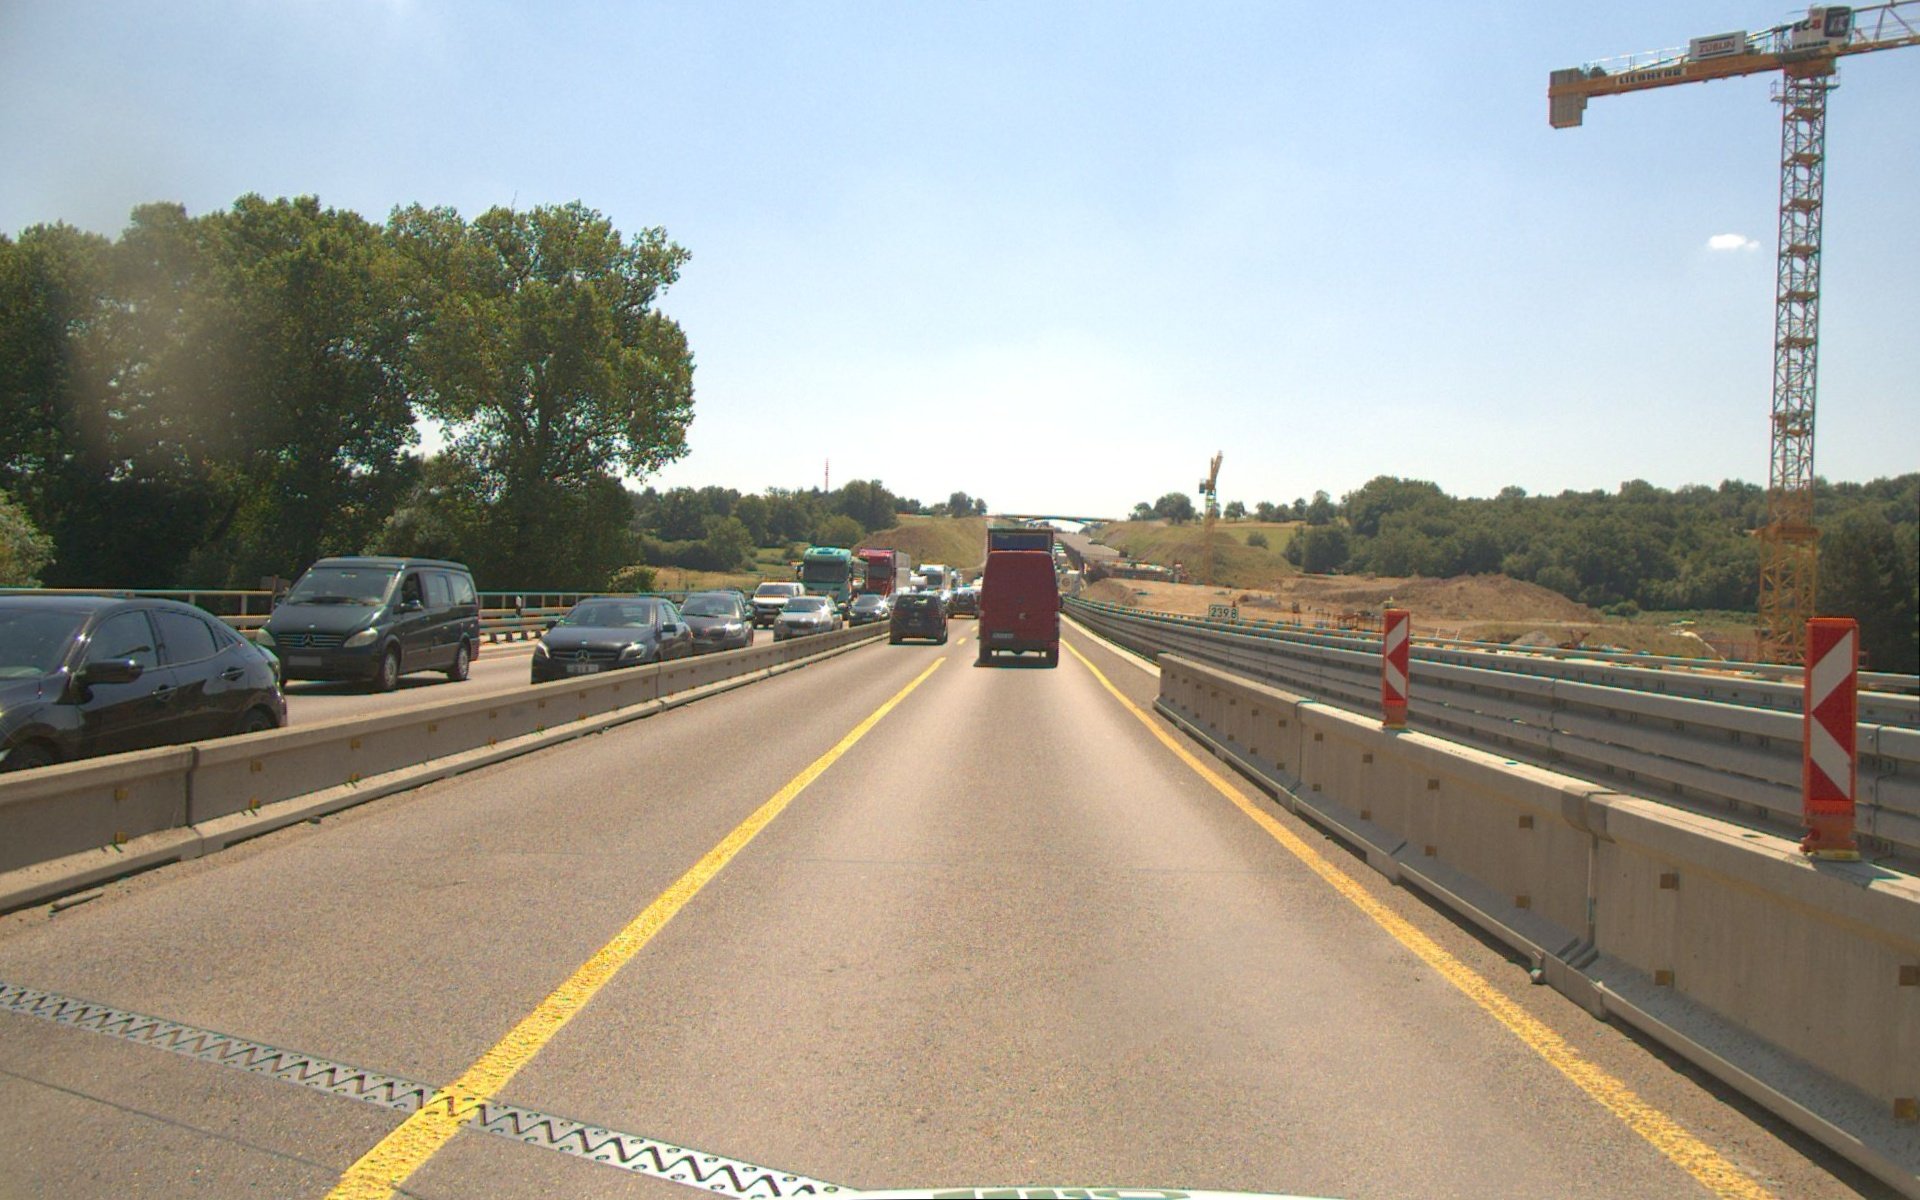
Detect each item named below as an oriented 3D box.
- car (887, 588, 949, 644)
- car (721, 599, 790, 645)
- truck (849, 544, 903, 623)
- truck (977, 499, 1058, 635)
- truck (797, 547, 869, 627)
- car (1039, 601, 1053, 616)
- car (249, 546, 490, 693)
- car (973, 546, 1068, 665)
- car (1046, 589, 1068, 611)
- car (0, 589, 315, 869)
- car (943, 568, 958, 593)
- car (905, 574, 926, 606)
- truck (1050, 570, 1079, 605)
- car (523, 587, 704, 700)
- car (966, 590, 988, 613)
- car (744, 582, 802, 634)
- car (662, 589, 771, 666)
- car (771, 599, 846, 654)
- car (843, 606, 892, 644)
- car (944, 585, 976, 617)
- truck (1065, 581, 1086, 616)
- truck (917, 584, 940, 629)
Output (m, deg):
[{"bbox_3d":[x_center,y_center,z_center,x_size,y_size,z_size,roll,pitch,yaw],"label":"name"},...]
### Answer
[{"bbox_3d":[-1.338,0.503,54.471,1.698,1.664,4.391,2,1,2],"label":"car"},{"bbox_3d":[-7.397,0.780,60.289,1.783,1.522,5.173,2,0,1],"label":"car"},{"bbox_3d":[-5.665,-1.101,113.777,2.751,5.025,12.134,2,0,1],"label":"truck"},{"bbox_3d":[2.221,-1.249,65.992,2.884,5.032,6.741,2,0,0],"label":"truck"},{"bbox_3d":[-6.881,-0.665,91.263,2.751,4.033,12.134,2,0,1],"label":"truck"},{"bbox_3d":[11.490,1.154,220.601,1.584,1.868,3.889,2,-1,0],"label":"car"},{"bbox_3d":[-8.958,0.277,25.589,1.783,1.977,5.064,2,0,1],"label":"car"},{"bbox_3d":[1.492,0.125,41.277,2.105,2.656,5.439,3,0,2],"label":"car"},{"bbox_3d":[7.998,0.011,136.379,1.584,1.729,3.890,2,0,1],"label":"car"},{"bbox_3d":[-5.693,0.653,10.121,1.634,1.389,4.440,2,0,1],"label":"car"},{"bbox_3d":[-1.078,-2.268,193.285,1.584,2.648,3.890,2,-1,1],"label":"car"},{"bbox_3d":[-3.838,-0.863,143.067,1.584,2.647,3.890,2,0,1],"label":"car"},{"bbox_3d":[9.839,-1.175,156.128,2.244,3.252,6.483,1,0,0],"label":"truck"},{"bbox_3d":[-5.204,0.611,25.423,1.721,1.522,4.440,2,0,1],"label":"car"},{"bbox_3d":[1.316,0.121,128.599,1.584,1.729,3.890,2,0,1],"label":"car"},{"bbox_3d":[-7.699,0.317,68.518,1.953,2.049,3.999,2,0,-1],"label":"car"},{"bbox_3d":[-5.304,0.577,36.485,1.690,1.522,4.134,2,0,1],"label":"car"},{"bbox_3d":[-4.520,0.772,49.936,1.783,1.522,4.134,2,0,1],"label":"car"},{"bbox_3d":[-4.028,1.091,72.556,1.783,1.522,4.134,2,0,1],"label":"car"},{"bbox_3d":[0.004,0.058,97.926,1.783,1.726,4.134,2,0,1],"label":"car"},{"bbox_3d":[14.128,-0.144,202.175,2.244,3.805,6.482,2,-4,1],"label":"truck"},{"bbox_3d":[-3.174,0.730,166.491,1.952,4.076,6.481,2,-4,1],"label":"truck"}]
